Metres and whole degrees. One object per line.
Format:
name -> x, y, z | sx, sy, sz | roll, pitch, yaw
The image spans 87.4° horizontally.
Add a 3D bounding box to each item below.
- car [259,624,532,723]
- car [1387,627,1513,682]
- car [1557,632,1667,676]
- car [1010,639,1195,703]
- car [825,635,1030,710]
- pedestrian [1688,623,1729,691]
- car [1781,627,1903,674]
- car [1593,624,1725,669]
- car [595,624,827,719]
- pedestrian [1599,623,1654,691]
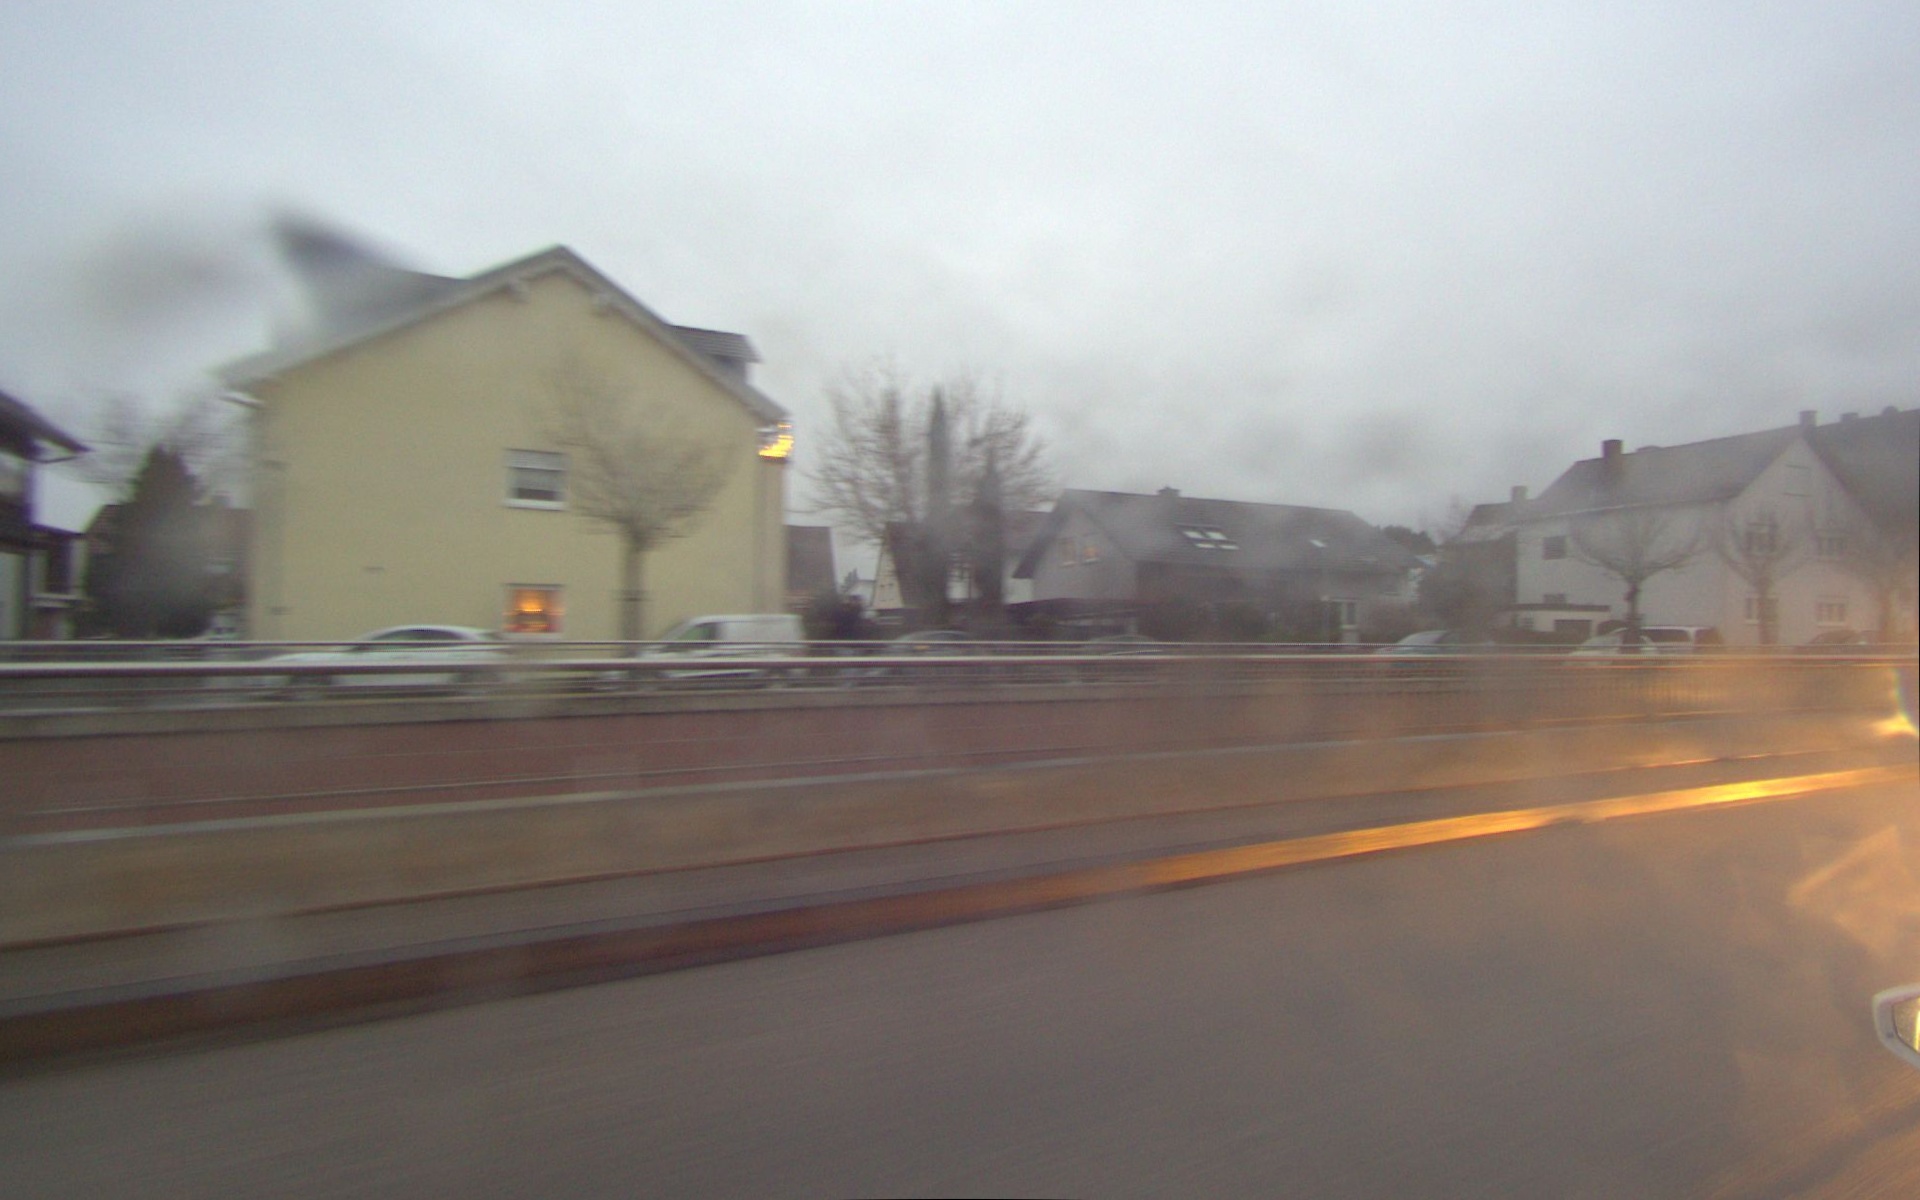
car -> -10.247, 1.295, 18.529 | 4.173, 1.619, 1.866 | 0, -3, -29
car -> 15.214, 1.701, 31.183 | 3.772, 1.601, 1.560 | 2, -4, -27
car -> 22.161, 1.822, 34.129 | 3.409, 1.446, 1.479 | 1, -2, -22
car -> 3.682, 1.784, 25.805 | 4.443, 1.452, 1.868 | 0, -3, -27
car -> -0.752, 1.661, 23.670 | 4.443, 1.593, 1.868 | 0, -3, -27
pedestrian -> 19.236, 1.458, 25.812 | 0.533, 1.720, 0.662 | 0, 0, -20
car -> 34.035, 1.921, 38.761 | 4.156, 1.705, 1.907 | 0, -2, -22
car -> 28.190, 1.900, 40.648 | 1.838, 1.716, 3.978 | 0, -3, -24
car -> -5.232, 1.444, 21.191 | 4.446, 1.802, 1.866 | 0, -3, -29
pedestrian -> 18.408, 1.553, 27.751 | 0.960, 1.808, 0.925 | 1, 0, -25
